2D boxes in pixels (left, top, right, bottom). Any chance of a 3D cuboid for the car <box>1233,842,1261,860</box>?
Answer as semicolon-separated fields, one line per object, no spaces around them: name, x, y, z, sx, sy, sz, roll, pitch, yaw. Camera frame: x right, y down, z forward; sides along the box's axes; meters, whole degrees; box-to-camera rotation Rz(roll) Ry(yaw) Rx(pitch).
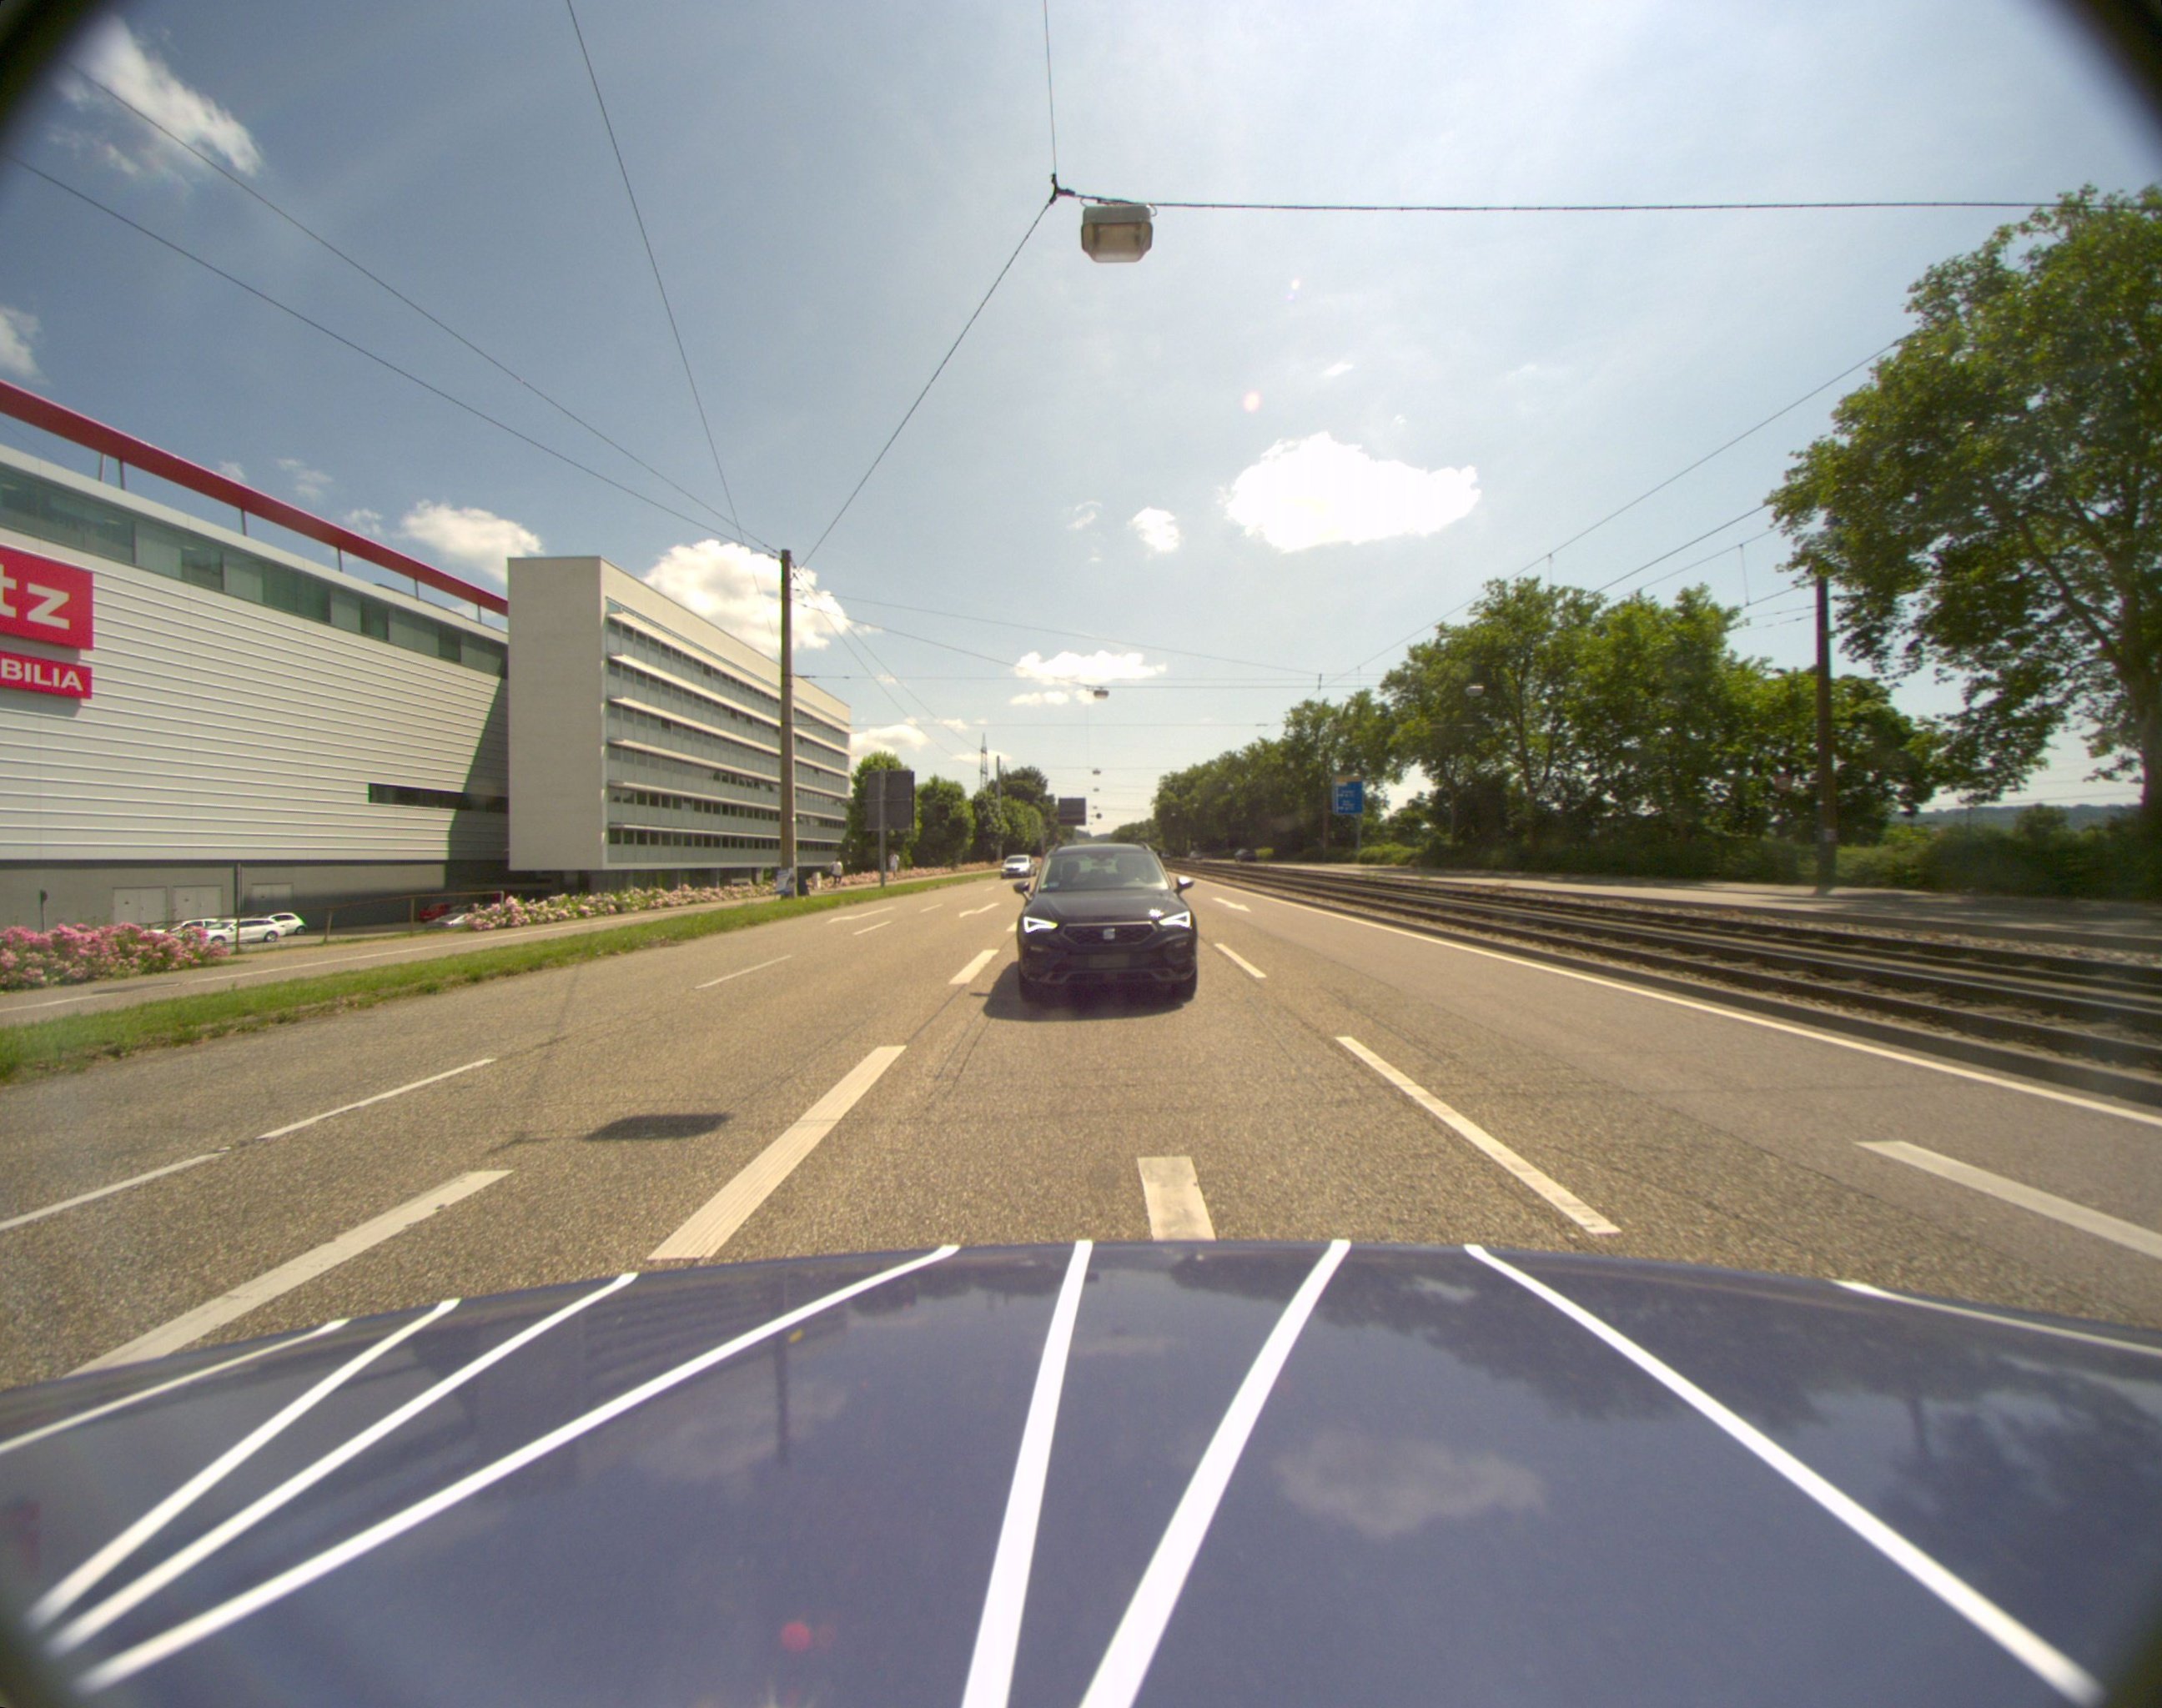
car;18.390;-0.347;84.283;1.999;1.907;4.409;-2;1;-1

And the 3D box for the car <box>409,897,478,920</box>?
car;-50.751;4.317;60.589;1.998;1.439;3.999;-2;1;1

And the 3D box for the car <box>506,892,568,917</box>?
car;-43.229;3.977;60.486;1.998;1.603;3.999;-2;1;1

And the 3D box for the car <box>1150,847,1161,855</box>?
car;17.599;-0.710;178.611;1.999;1.820;4.968;1;0;-1

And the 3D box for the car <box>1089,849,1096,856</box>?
car;3.064;-0.415;204.232;1.998;1.641;4.000;-2;1;1

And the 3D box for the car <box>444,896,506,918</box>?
car;-48.175;4.162;60.474;1.648;1.378;3.999;-2;1;1

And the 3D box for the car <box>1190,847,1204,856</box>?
car;18.670;-0.414;122.308;1.826;1.407;3.884;1;1;2

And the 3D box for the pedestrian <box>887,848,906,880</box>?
pedestrian;-10.891;0.563;44.844;0.758;1.838;0.930;-2;1;3

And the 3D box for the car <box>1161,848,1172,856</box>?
car;18.301;-0.499;162.318;1.690;1.574;4.058;1;0;-1

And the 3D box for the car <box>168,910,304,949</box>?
car;-48.575;4.304;43.900;1.998;1.603;5.146;-2;1;1

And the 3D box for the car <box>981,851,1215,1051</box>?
car;0.169;0.799;8.552;1.898;1.564;4.511;-2;1;1

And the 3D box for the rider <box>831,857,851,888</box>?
rider;-11.552;0.907;36.573;0.671;1.449;0.618;-2;1;0

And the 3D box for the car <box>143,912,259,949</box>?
car;-51.384;4.434;44.500;1.998;1.603;3.999;-2;1;1

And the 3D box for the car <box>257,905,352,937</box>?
car;-50.473;4.320;49.507;1.998;1.603;3.999;-2;1;1

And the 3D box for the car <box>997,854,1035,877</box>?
car;-4.016;0.696;47.745;1.896;1.331;4.000;-2;1;1

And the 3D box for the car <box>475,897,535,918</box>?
car;-45.736;4.224;60.400;1.609;1.314;3.999;-2;1;1
